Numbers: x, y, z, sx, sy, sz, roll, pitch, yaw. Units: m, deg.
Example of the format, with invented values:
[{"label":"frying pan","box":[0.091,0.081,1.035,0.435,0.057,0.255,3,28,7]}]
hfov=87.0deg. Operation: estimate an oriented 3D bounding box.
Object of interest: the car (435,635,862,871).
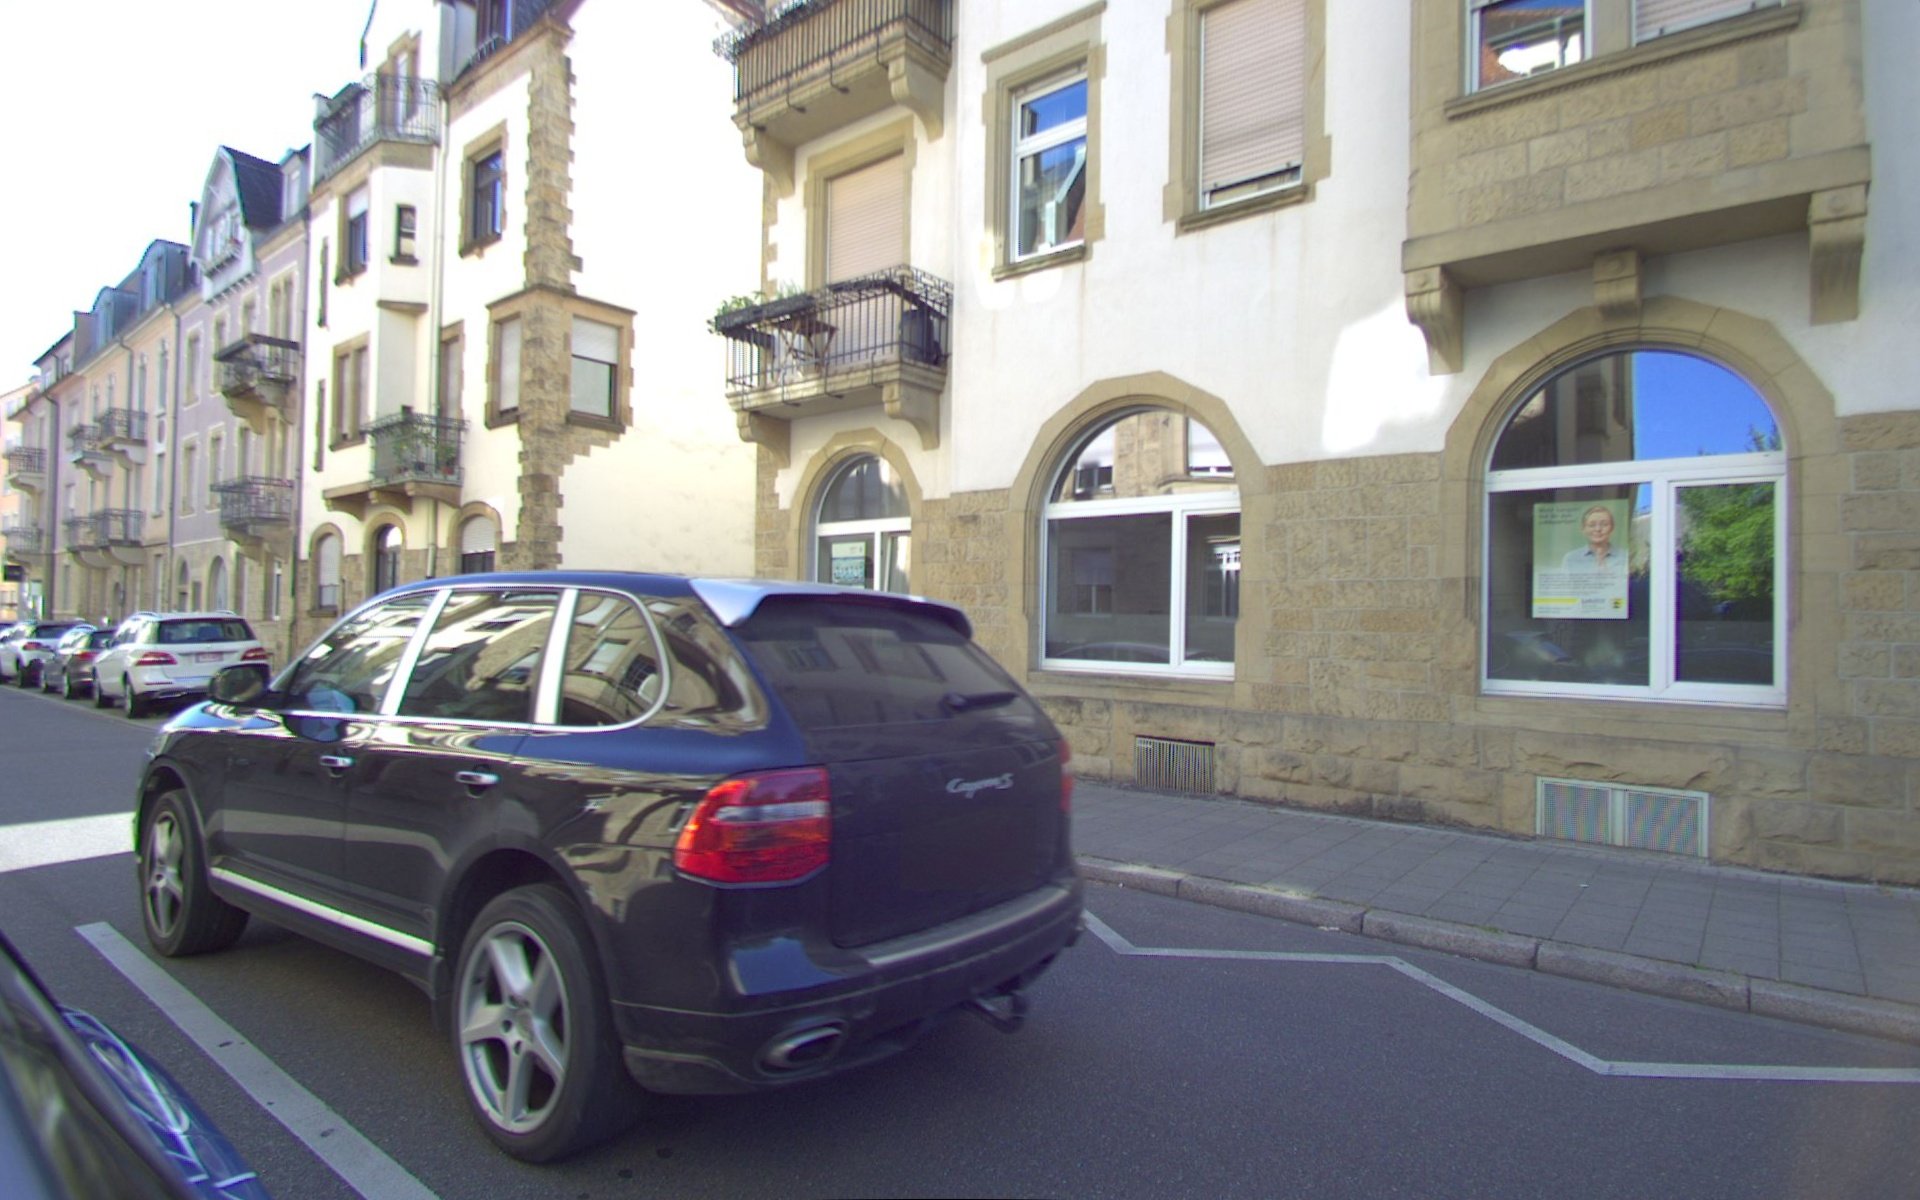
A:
[{"label":"car","box":[-2.637,1.047,8.179,3.642,1.469,1.634,-2,-5,42]}]

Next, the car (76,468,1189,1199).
[{"label":"car","box":[-1.652,0.679,4.291,4.699,1.707,2.054,-1,-5,36]}]

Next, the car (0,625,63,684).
[{"label":"car","box":[-27.155,1.517,28.874,4.317,1.511,1.833,-1,0,41]}]

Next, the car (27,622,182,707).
[{"label":"car","box":[-18.443,1.291,21.753,4.319,1.519,1.866,-1,2,41]}]

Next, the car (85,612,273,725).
[{"label":"car","box":[-13.946,1.100,17.993,4.209,1.740,1.866,-1,0,41]}]

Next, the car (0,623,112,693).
[{"label":"car","box":[-22.947,1.383,25.434,4.319,1.520,1.866,-1,0,41]}]

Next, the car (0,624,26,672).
[{"label":"car","box":[-33.139,1.607,34.222,4.319,1.520,1.866,-1,0,41]}]
